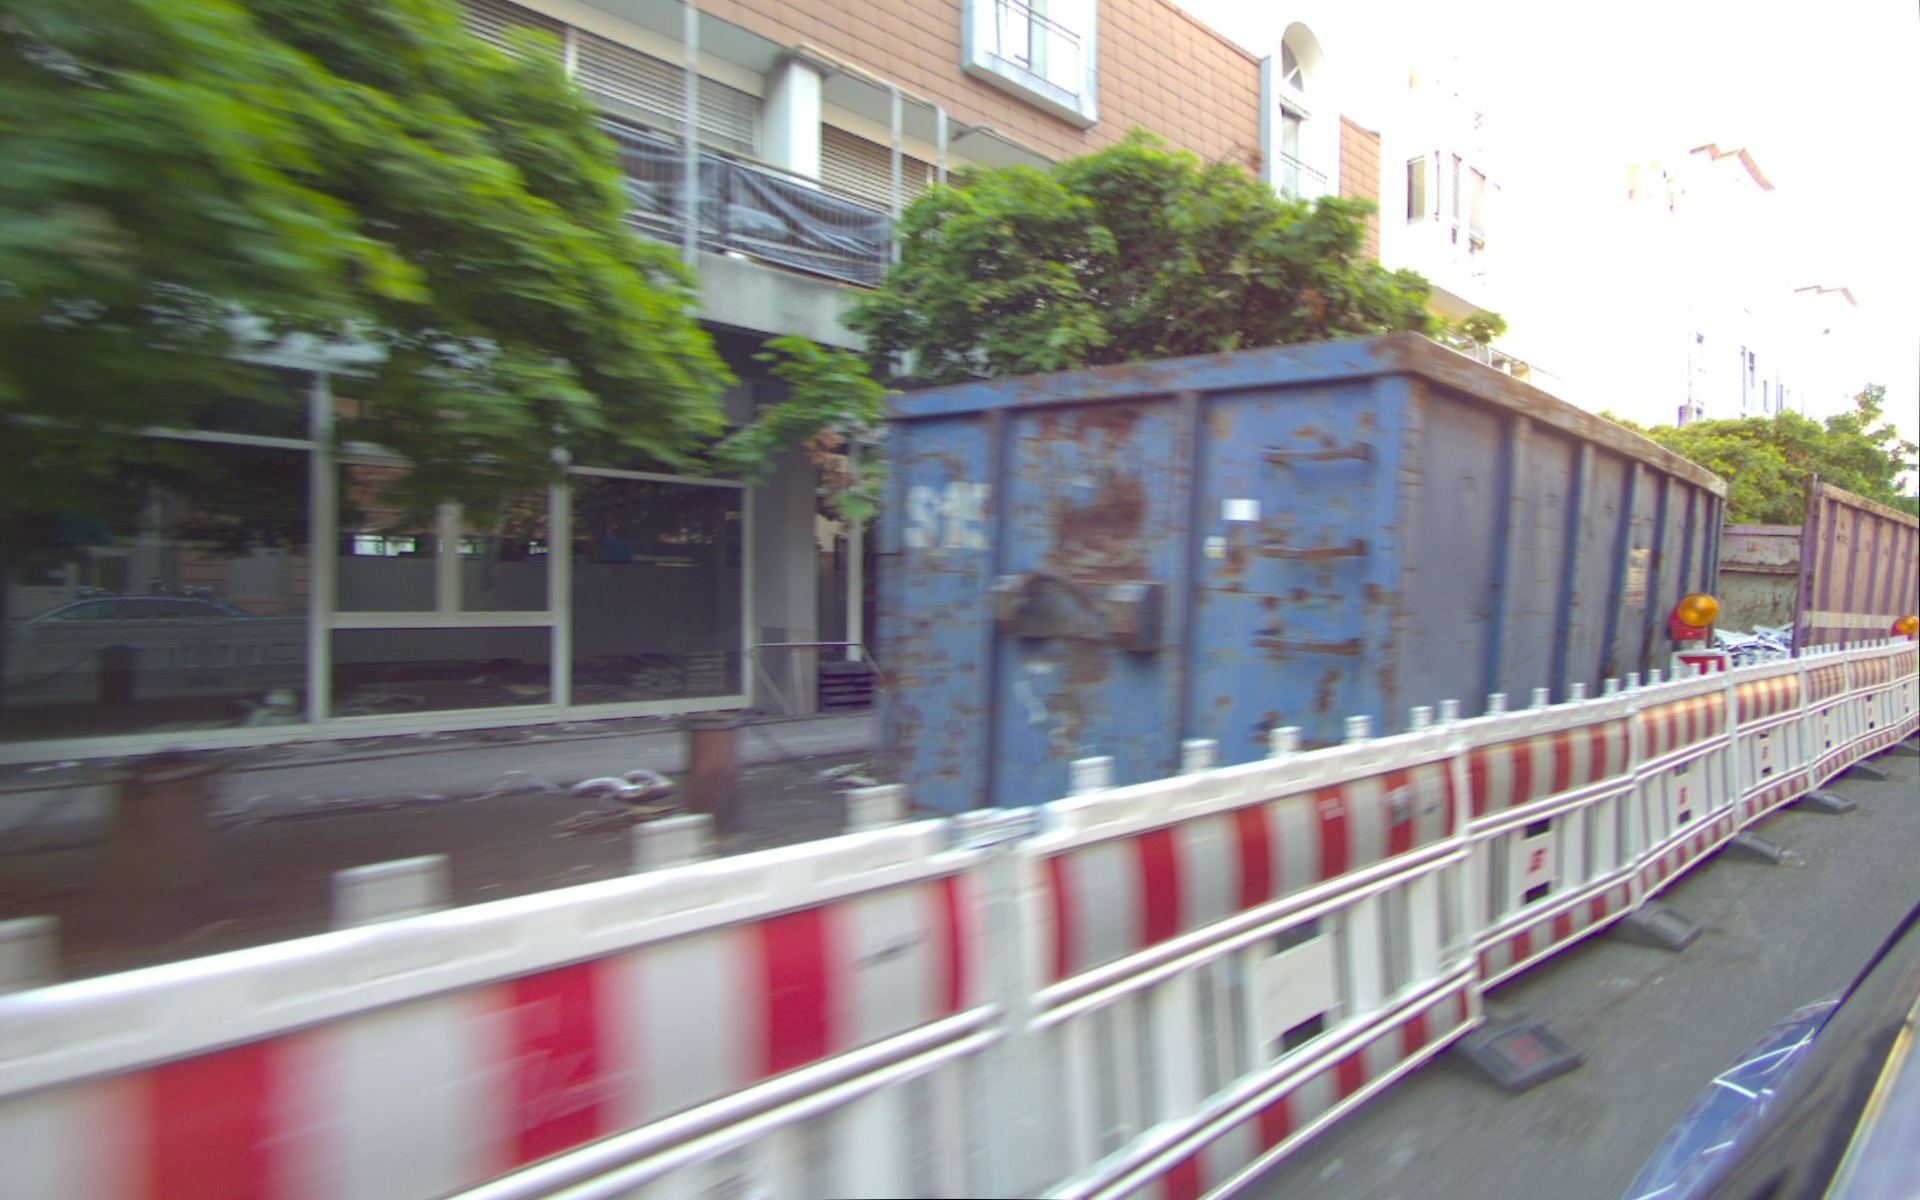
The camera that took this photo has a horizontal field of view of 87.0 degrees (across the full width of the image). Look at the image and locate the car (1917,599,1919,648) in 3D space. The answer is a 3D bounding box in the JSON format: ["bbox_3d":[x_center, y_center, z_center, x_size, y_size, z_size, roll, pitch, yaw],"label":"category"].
[{"bbox_3d":[30.922,0.696,31.119,3.993,1.465,1.638,0,-1,-39],"label":"car"}]
